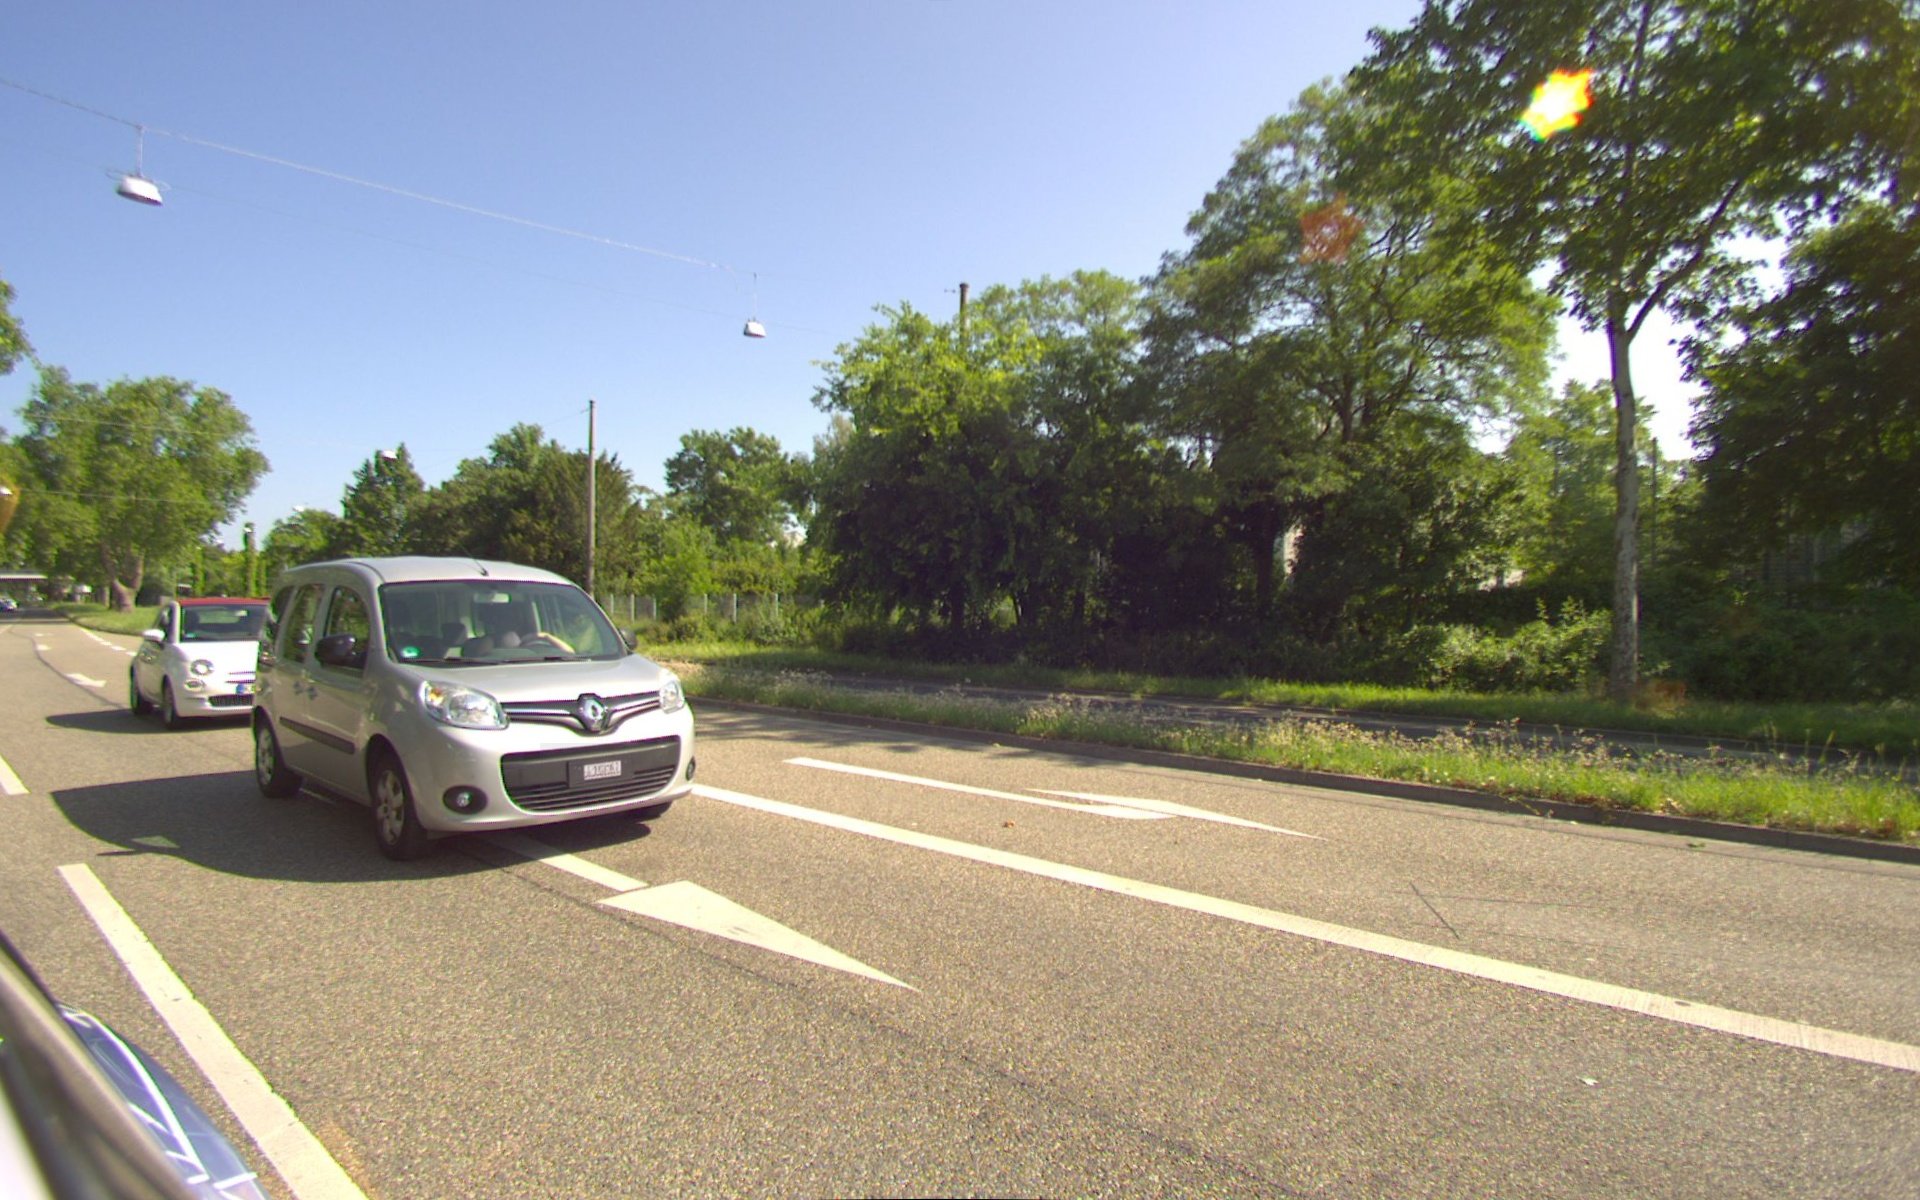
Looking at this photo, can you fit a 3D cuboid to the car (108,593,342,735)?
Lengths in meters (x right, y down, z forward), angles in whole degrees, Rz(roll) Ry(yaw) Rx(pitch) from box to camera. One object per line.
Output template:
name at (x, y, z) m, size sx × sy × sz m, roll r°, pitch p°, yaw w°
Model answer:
car at (-9.562, 0.694, 13.022) m, size 4.376 × 1.502 × 1.666 m, roll 0°, pitch 1°, yaw 44°

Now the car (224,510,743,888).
car at (-3.580, 0.496, 7.163) m, size 4.376 × 1.854 × 1.851 m, roll 0°, pitch -1°, yaw 43°
